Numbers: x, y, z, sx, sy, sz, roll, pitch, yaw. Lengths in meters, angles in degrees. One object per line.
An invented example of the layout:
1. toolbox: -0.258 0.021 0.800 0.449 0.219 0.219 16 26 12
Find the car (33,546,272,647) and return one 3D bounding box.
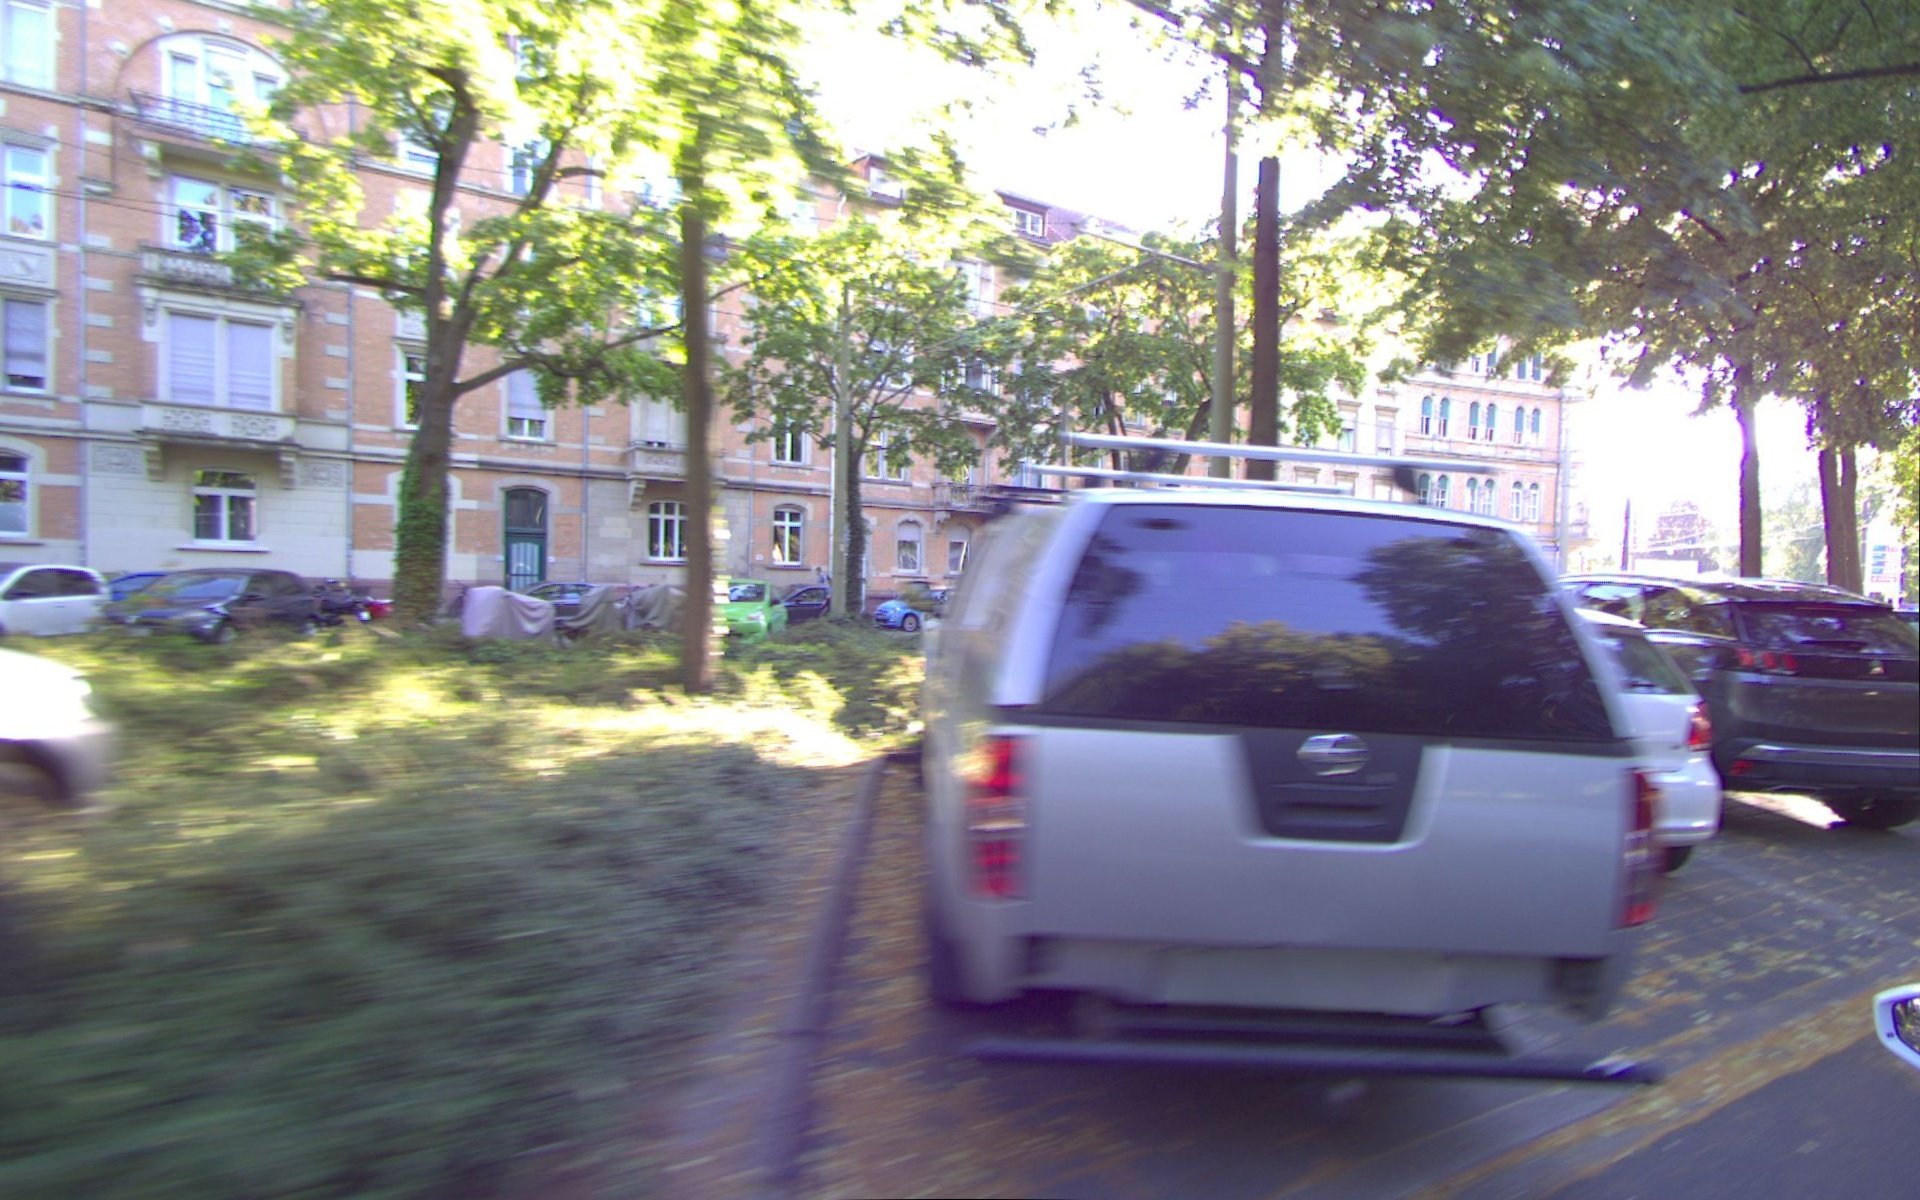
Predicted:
1. car: -17.937 -0.116 22.606 3.957 2.041 1.981 0 4 -33

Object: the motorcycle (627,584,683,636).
1. motorcycle: -6.042 0.179 19.987 0.857 0.968 1.724 1 1 -11

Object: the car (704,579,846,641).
1. car: -5.707 0.299 31.150 3.958 1.799 1.783 1 1 -34

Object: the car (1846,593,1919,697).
1. car: 15.625 0.807 14.597 1.797 1.514 3.881 3 3 -4

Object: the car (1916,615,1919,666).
1. car: 24.145 0.969 22.035 1.744 1.449 4.281 2 2 -14

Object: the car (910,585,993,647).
1. car: -0.289 0.345 24.774 1.695 1.399 3.735 1 1 -6

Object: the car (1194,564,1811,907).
1. car: 3.066 0.585 6.853 1.737 1.479 4.158 3 3 -3

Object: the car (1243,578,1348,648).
1. car: 10.475 0.376 31.655 1.960 2.040 4.000 1 1 1

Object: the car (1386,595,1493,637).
1. car: 16.941 0.534 35.667 1.685 1.347 3.628 1 1 -8

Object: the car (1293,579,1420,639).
1. car: 13.003 0.252 33.287 2.045 1.788 4.834 1 1 -3

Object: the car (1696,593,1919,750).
1. car: 10.694 0.797 11.221 1.797 1.458 3.867 3 3 -5

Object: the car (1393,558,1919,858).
1. car: 5.497 0.576 8.084 1.904 1.648 4.355 3 3 -3

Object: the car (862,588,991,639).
1. car: -1.110 0.414 34.151 4.016 1.539 1.839 0 4 -34

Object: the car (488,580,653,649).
1. car: -10.721 0.382 27.714 3.958 1.799 1.783 1 1 -34

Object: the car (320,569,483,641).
1. car: -14.022 0.093 25.265 3.471 1.604 1.839 0 4 -33

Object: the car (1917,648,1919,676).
1. car: 20.147 0.960 17.982 1.745 1.383 3.972 2 3 -15

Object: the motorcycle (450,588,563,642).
1. motorcycle: -8.144 0.240 18.151 1.000 0.901 1.978 1 1 5

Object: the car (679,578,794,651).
1. car: -4.695 0.269 21.572 1.674 1.399 3.738 1 1 -1

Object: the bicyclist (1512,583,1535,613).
1. bicyclist: 31.253 -0.103 55.748 0.691 1.510 0.591 7 3 -17

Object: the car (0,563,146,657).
1. car: -14.651 0.110 15.466 1.566 1.335 3.991 1 1 -11

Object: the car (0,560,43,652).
1. car: -21.228 0.111 20.445 3.471 1.807 1.839 0 4 -33

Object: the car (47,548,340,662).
1. car: -12.243 0.064 16.442 1.962 1.600 3.996 1 0 -6

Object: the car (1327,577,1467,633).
1. car: 15.070 0.139 34.999 2.047 1.788 5.051 1 1 -9

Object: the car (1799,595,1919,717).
1. car: 13.218 0.831 12.453 1.797 1.458 4.195 3 3 -5

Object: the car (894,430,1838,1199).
1. car: 0.753 0.456 4.643 1.949 1.805 4.999 3 3 -3

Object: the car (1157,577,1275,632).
1. car: 10.658 0.152 41.755 4.947 2.091 1.840 0 4 -34

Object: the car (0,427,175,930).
1. car: -4.493 0.307 2.312 1.846 1.805 4.161 3 3 6

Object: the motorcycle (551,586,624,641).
1. motorcycle: -6.958 0.236 18.848 1.002 0.968 1.724 1 1 -11
